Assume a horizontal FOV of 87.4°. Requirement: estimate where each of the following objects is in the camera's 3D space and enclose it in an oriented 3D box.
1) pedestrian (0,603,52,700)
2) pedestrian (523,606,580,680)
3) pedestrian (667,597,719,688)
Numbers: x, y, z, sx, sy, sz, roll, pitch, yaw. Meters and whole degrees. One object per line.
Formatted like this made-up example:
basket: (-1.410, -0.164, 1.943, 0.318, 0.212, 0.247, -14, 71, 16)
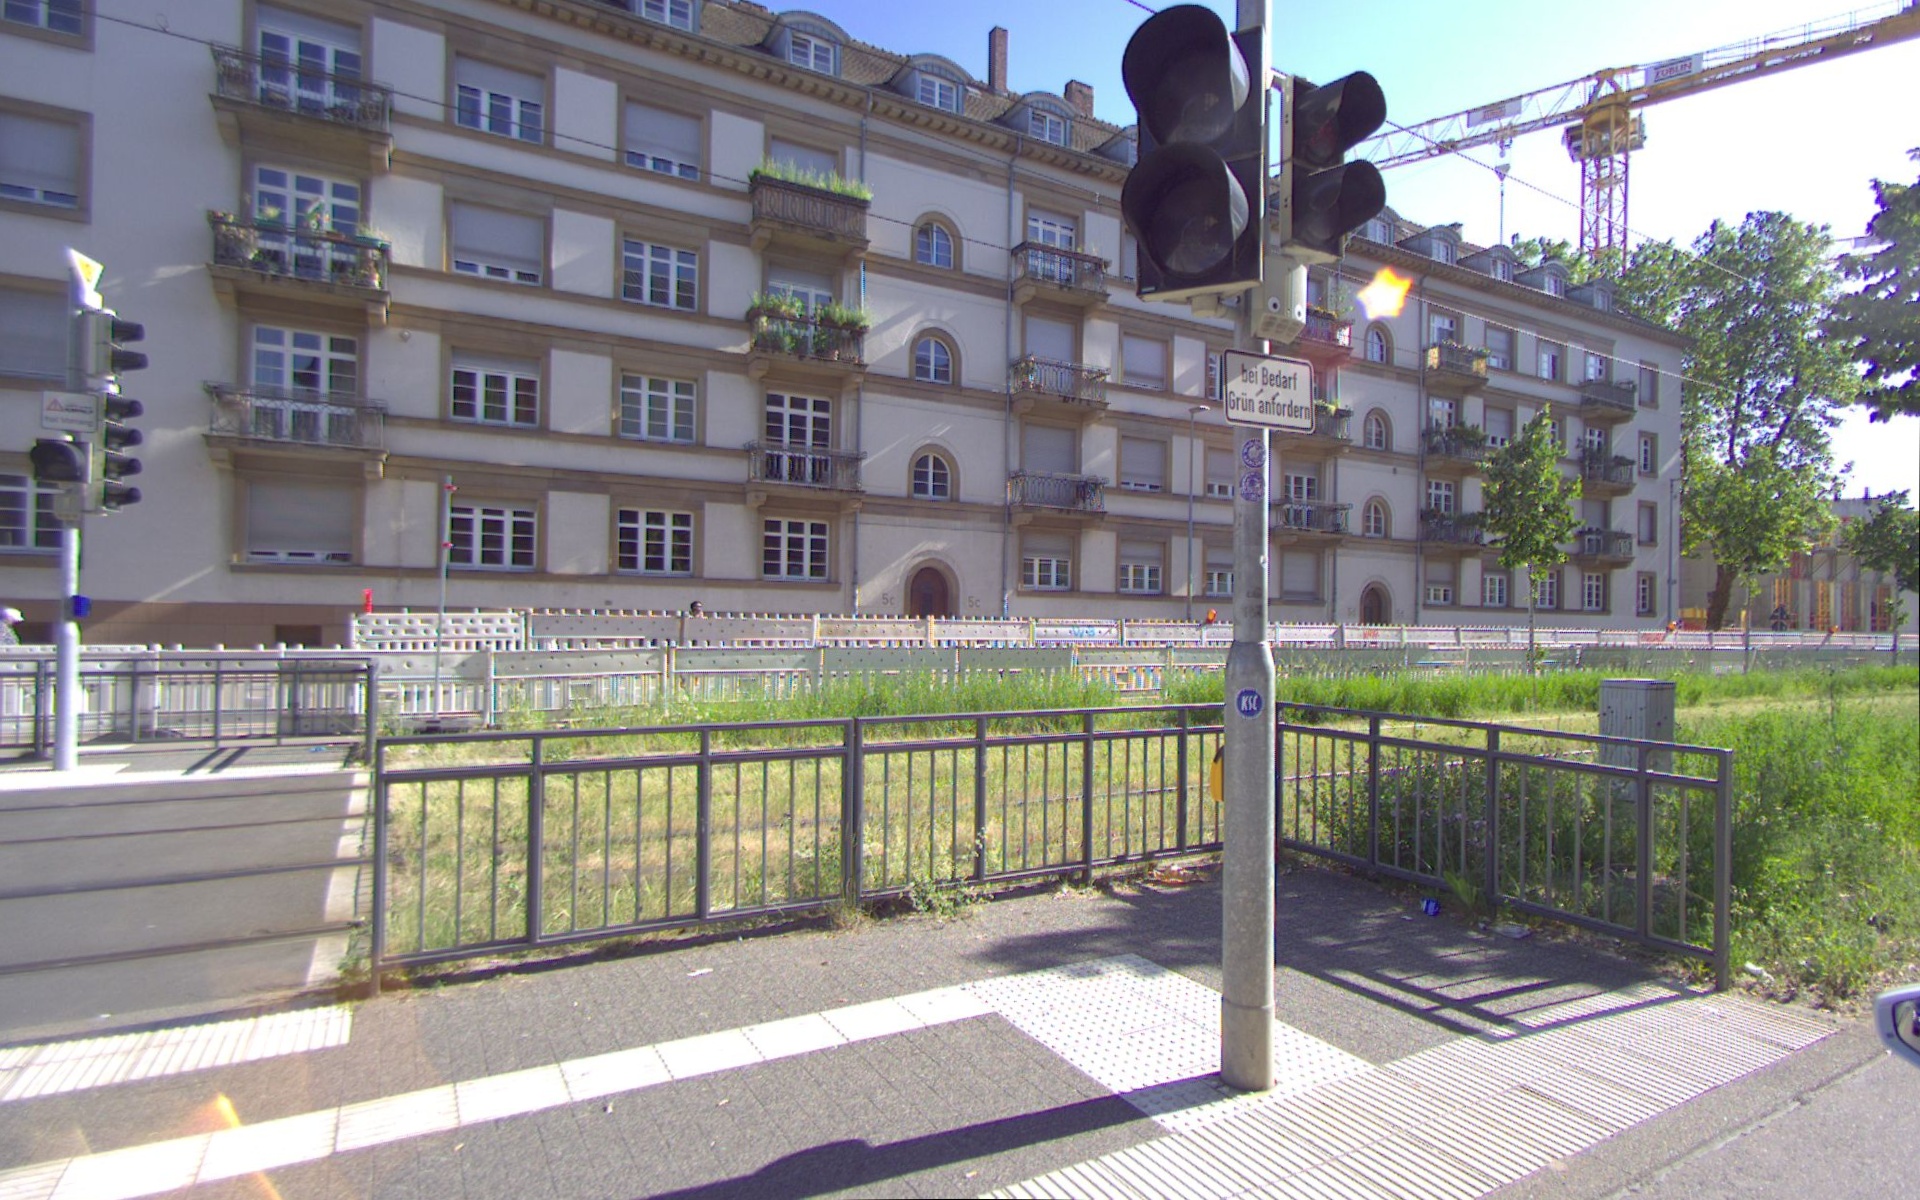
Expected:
pedestrian: (-15.294, 0.820, 16.176, 0.699, 1.524, 0.804, 0, -1, 32)
pedestrian: (-8.793, 0.923, 21.625, 1.009, 1.538, 0.783, 2, 0, -30)
pedestrian: (-5.733, 0.897, 21.532, 0.861, 1.888, 0.763, 2, 0, -30)
